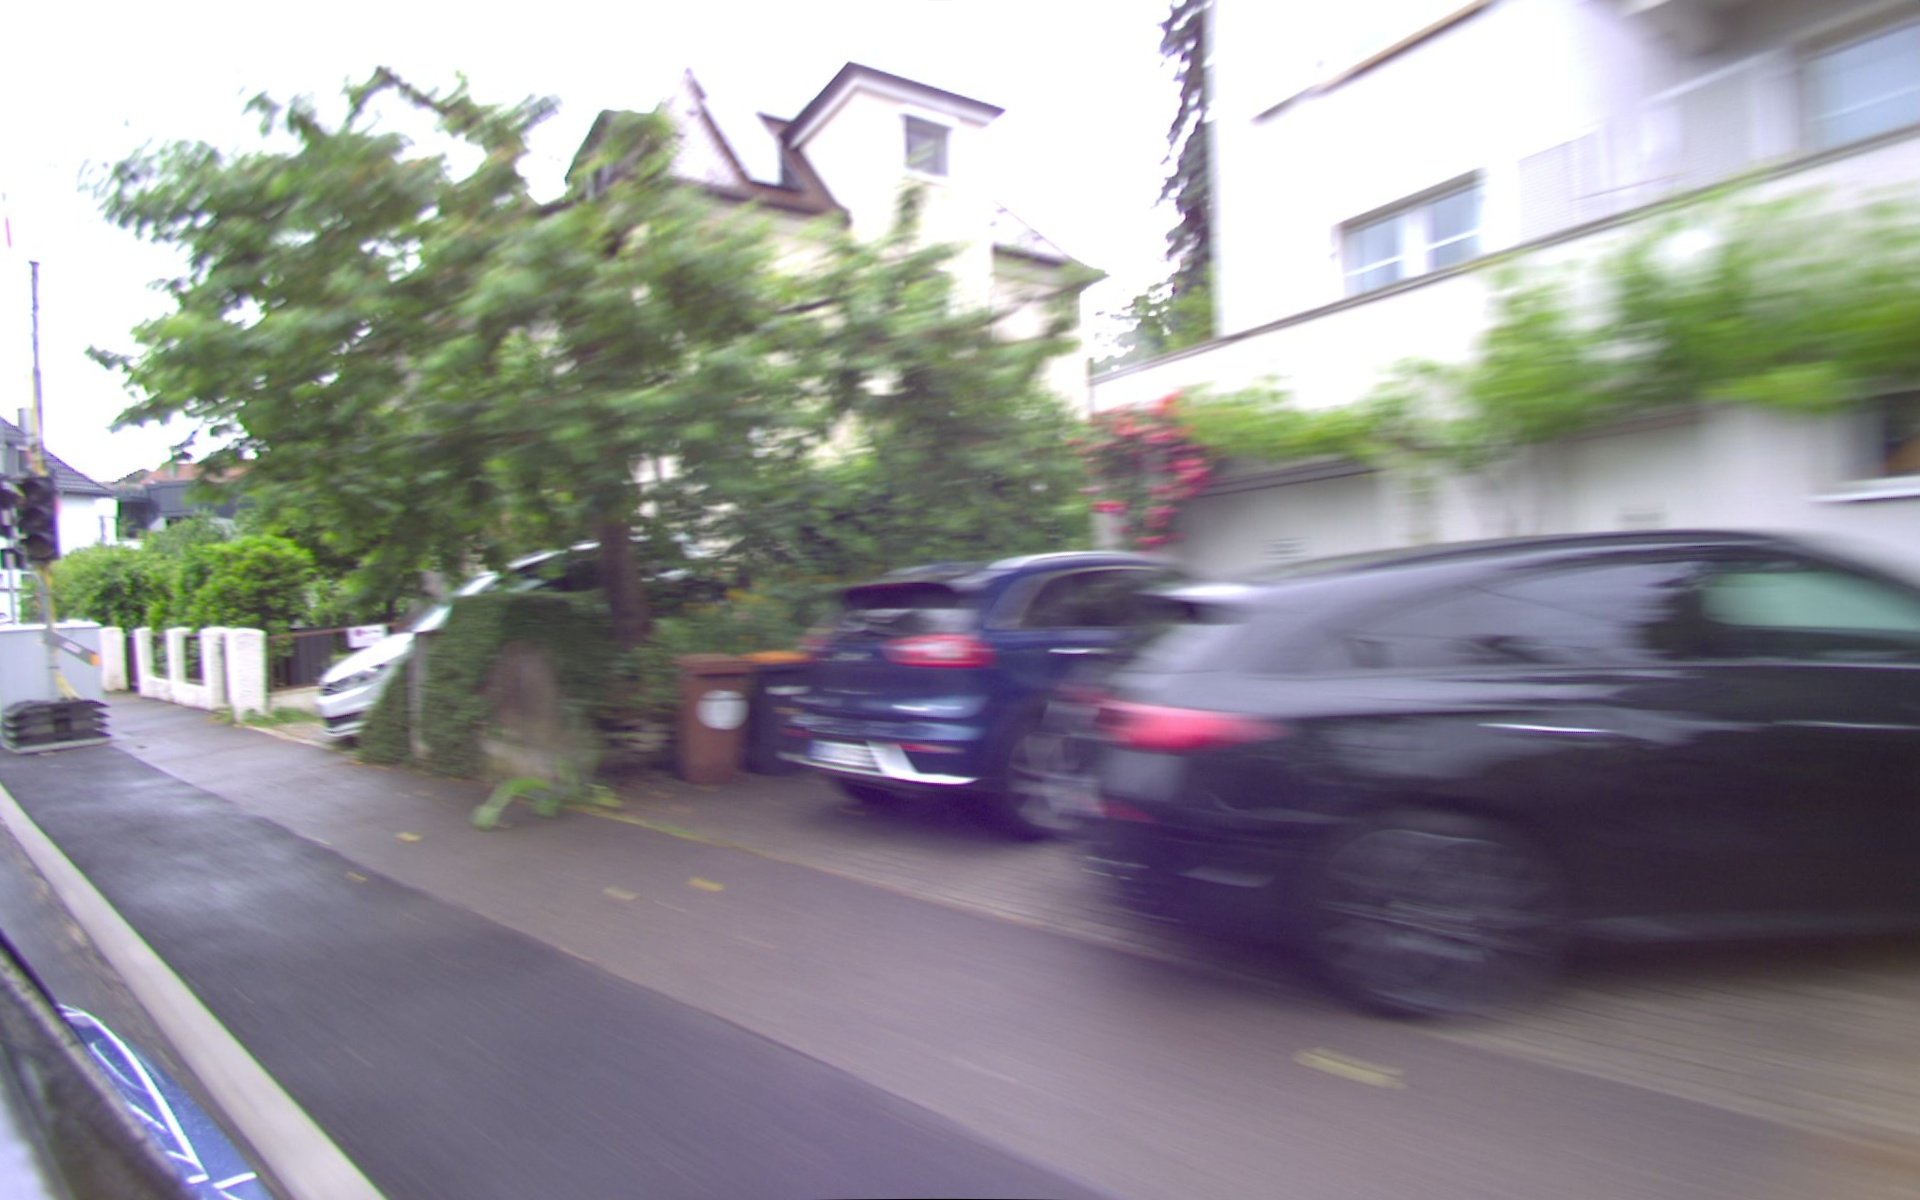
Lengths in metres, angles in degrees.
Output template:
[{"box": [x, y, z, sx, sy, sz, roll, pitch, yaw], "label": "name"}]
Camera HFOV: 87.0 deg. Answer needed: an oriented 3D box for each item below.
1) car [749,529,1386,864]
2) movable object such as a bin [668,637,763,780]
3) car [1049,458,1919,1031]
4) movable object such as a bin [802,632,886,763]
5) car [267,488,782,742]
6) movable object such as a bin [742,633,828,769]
[{"box": [0.870, 0.357, 6.687, 3.937, 1.537, 1.944, -4, 3, -39], "label": "car"}, {"box": [-1.769, 0.762, 7.317, 0.498, 0.938, 0.506, -2, 2, -35], "label": "movable object such as a bin"}, {"box": [2.427, 0.348, 3.771, 3.943, 1.537, 1.787, -2, 2, 0], "label": "car"}, {"box": [-0.906, 0.740, 7.891, 0.459, 0.938, 0.489, -2, 2, -35], "label": "movable object such as a bin"}, {"box": [-4.765, 0.005, 11.561, 4.907, 1.626, 1.868, -16, 8, -37], "label": "car"}, {"box": [-1.315, 0.735, 7.595, 0.459, 0.938, 0.489, -2, 2, -35], "label": "movable object such as a bin"}]
